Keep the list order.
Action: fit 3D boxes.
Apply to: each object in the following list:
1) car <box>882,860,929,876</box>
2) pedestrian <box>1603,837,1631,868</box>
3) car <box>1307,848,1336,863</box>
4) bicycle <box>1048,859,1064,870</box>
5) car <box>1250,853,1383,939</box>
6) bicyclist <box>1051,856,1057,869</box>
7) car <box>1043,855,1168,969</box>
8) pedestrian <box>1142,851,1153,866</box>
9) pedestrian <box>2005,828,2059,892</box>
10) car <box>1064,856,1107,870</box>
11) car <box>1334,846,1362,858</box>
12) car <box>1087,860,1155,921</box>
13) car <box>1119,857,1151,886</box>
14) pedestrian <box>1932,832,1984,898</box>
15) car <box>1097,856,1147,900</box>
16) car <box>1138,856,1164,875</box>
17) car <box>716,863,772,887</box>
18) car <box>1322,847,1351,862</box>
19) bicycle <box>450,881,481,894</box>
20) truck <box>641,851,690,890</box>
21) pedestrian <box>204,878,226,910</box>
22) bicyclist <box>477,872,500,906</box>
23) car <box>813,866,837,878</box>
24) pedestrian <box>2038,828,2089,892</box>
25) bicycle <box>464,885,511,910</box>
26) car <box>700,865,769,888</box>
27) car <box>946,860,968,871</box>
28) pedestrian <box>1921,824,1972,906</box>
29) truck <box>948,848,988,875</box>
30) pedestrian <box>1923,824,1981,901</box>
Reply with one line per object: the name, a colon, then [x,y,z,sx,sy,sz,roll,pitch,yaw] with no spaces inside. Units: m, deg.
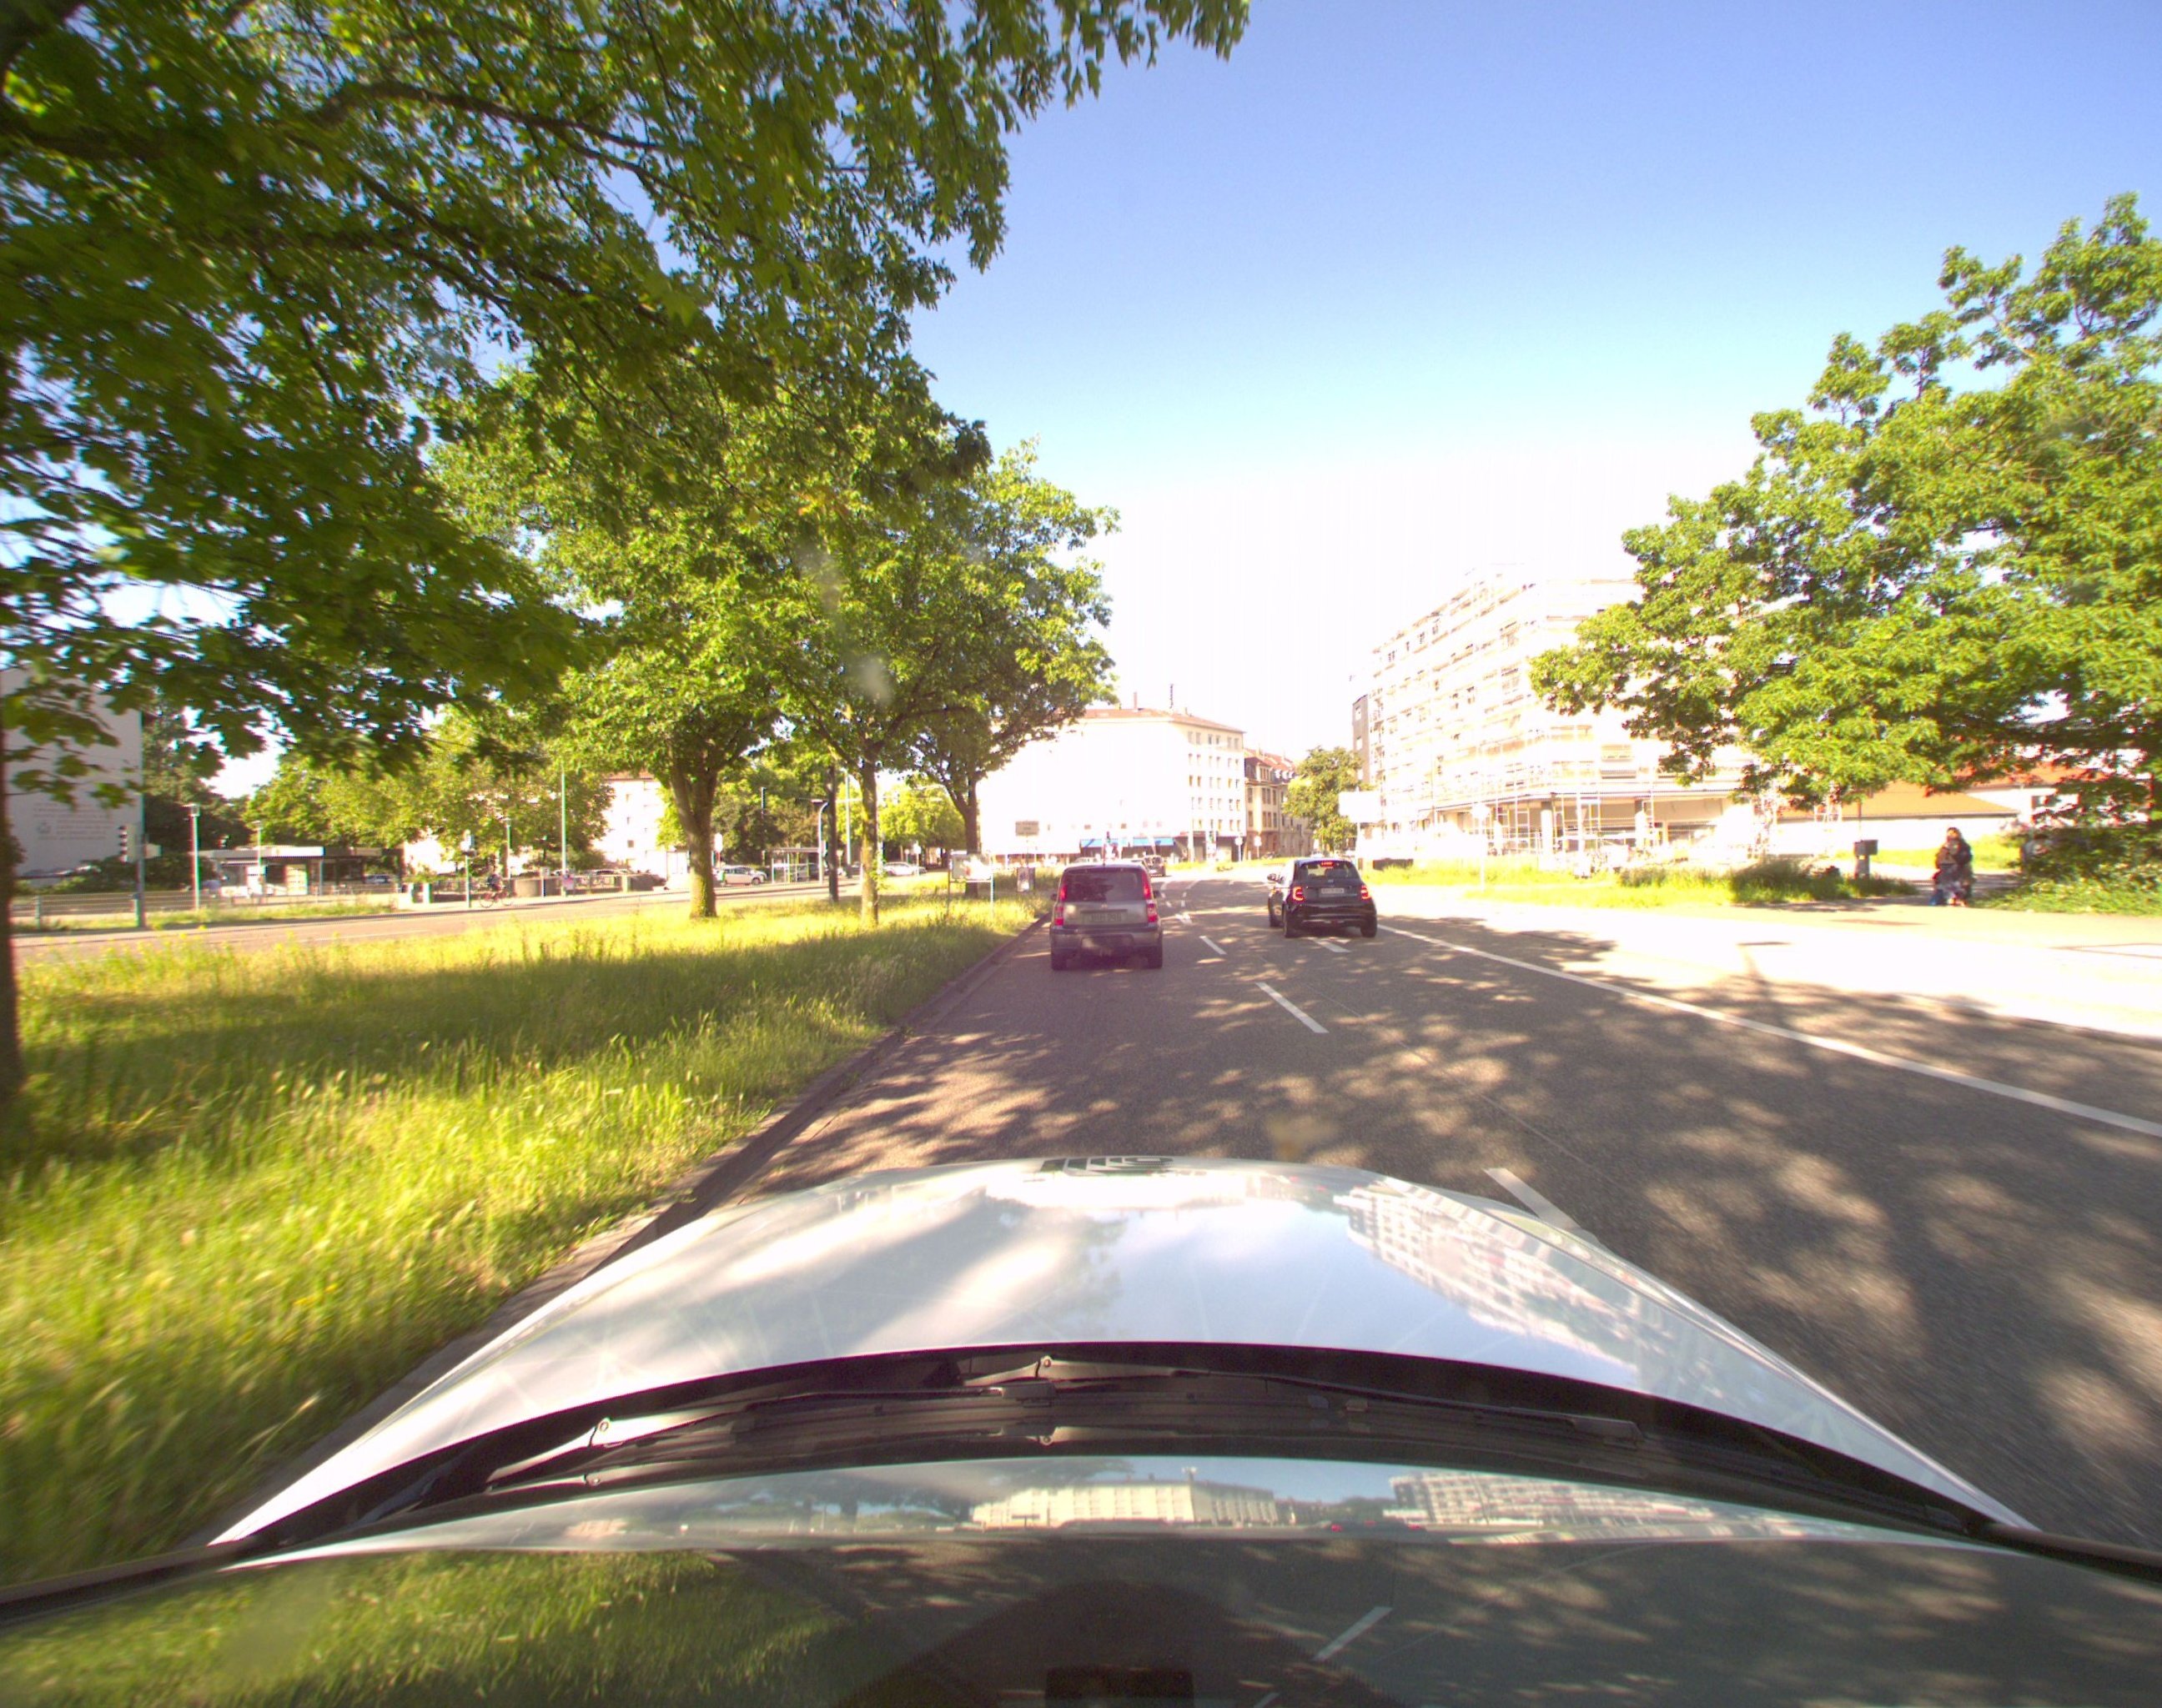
car: [-17.779,1.421,82.470,4.373,1.448,1.668,-1,0,0]
pedestrian: [25.969,-0.066,39.471,0.649,1.497,0.907,-1,0,-7]
car: [24.344,0.134,82.397,1.757,1.442,3.642,-1,1,34]
bicycle: [-2.641,1.140,85.817,1.574,1.090,0.532,-2,0,1]
car: [4.622,0.763,16.492,1.669,1.503,3.562,-2,0,1]
bicyclist: [-2.871,0.880,85.827,0.593,1.357,0.532,-2,0,1]
car: [0.420,0.788,12.705,1.653,1.510,3.254,-2,0,3]
pedestrian: [6.259,0.421,76.324,0.774,1.428,0.934,0,-1,-12]
pedestrian: [24.413,0.162,20.912,0.701,1.620,0.566,0,-1,-4]
car: [0.380,0.890,78.675,2.011,1.243,3.952,-1,0,-41]
car: [36.985,-0.300,112.829,1.905,1.594,3.984,-2,0,-11]
car: [1.025,0.904,21.729,1.615,1.429,3.689,-2,0,1]
car: [2.904,0.914,44.412,1.639,1.438,3.399,-2,0,3]
pedestrian: [20.519,0.257,19.070,0.525,1.518,0.614,-1,0,4]
car: [1.553,0.867,31.252,1.753,1.486,4.296,-2,0,2]
car: [4.794,0.796,56.009,1.683,1.253,3.629,-1,-1,4]
car: [-27.772,1.697,67.185,1.741,1.717,4.025,2,2,28]
car: [27.185,0.044,86.478,1.802,1.508,4.026,-2,0,35]
bicycle: [-43.678,2.384,57.792,1.695,0.839,0.541,-1,0,-42]
truck: [-33.993,1.311,66.586,4.768,2.994,2.012,-1,1,44]
pedestrian: [-50.495,2.310,47.491,0.553,1.829,0.731,-2,-1,22]
bicyclist: [-27.530,1.612,37.821,0.606,1.530,0.680,0,1,36]
car: [-31.119,2.156,99.073,1.588,1.293,3.704,-2,0,2]
pedestrian: [25.302,0.160,20.982,0.596,1.620,0.566,0,-1,-4]
bicycle: [-27.543,2.012,37.806,0.606,1.001,1.669,0,1,36]
car: [-27.175,1.722,63.959,1.849,1.544,4.576,2,2,44]
car: [-15.276,1.414,100.874,1.986,1.310,4.001,-2,0,1]
pedestrian: [18.256,0.235,17.187,0.600,1.700,0.410,-2,0,1]
truck: [-10.924,0.734,78.369,1.804,2.427,4.060,-1,0,-43]
pedestrian: [18.846,0.177,17.635,0.619,1.634,0.552,-2,0,2]
